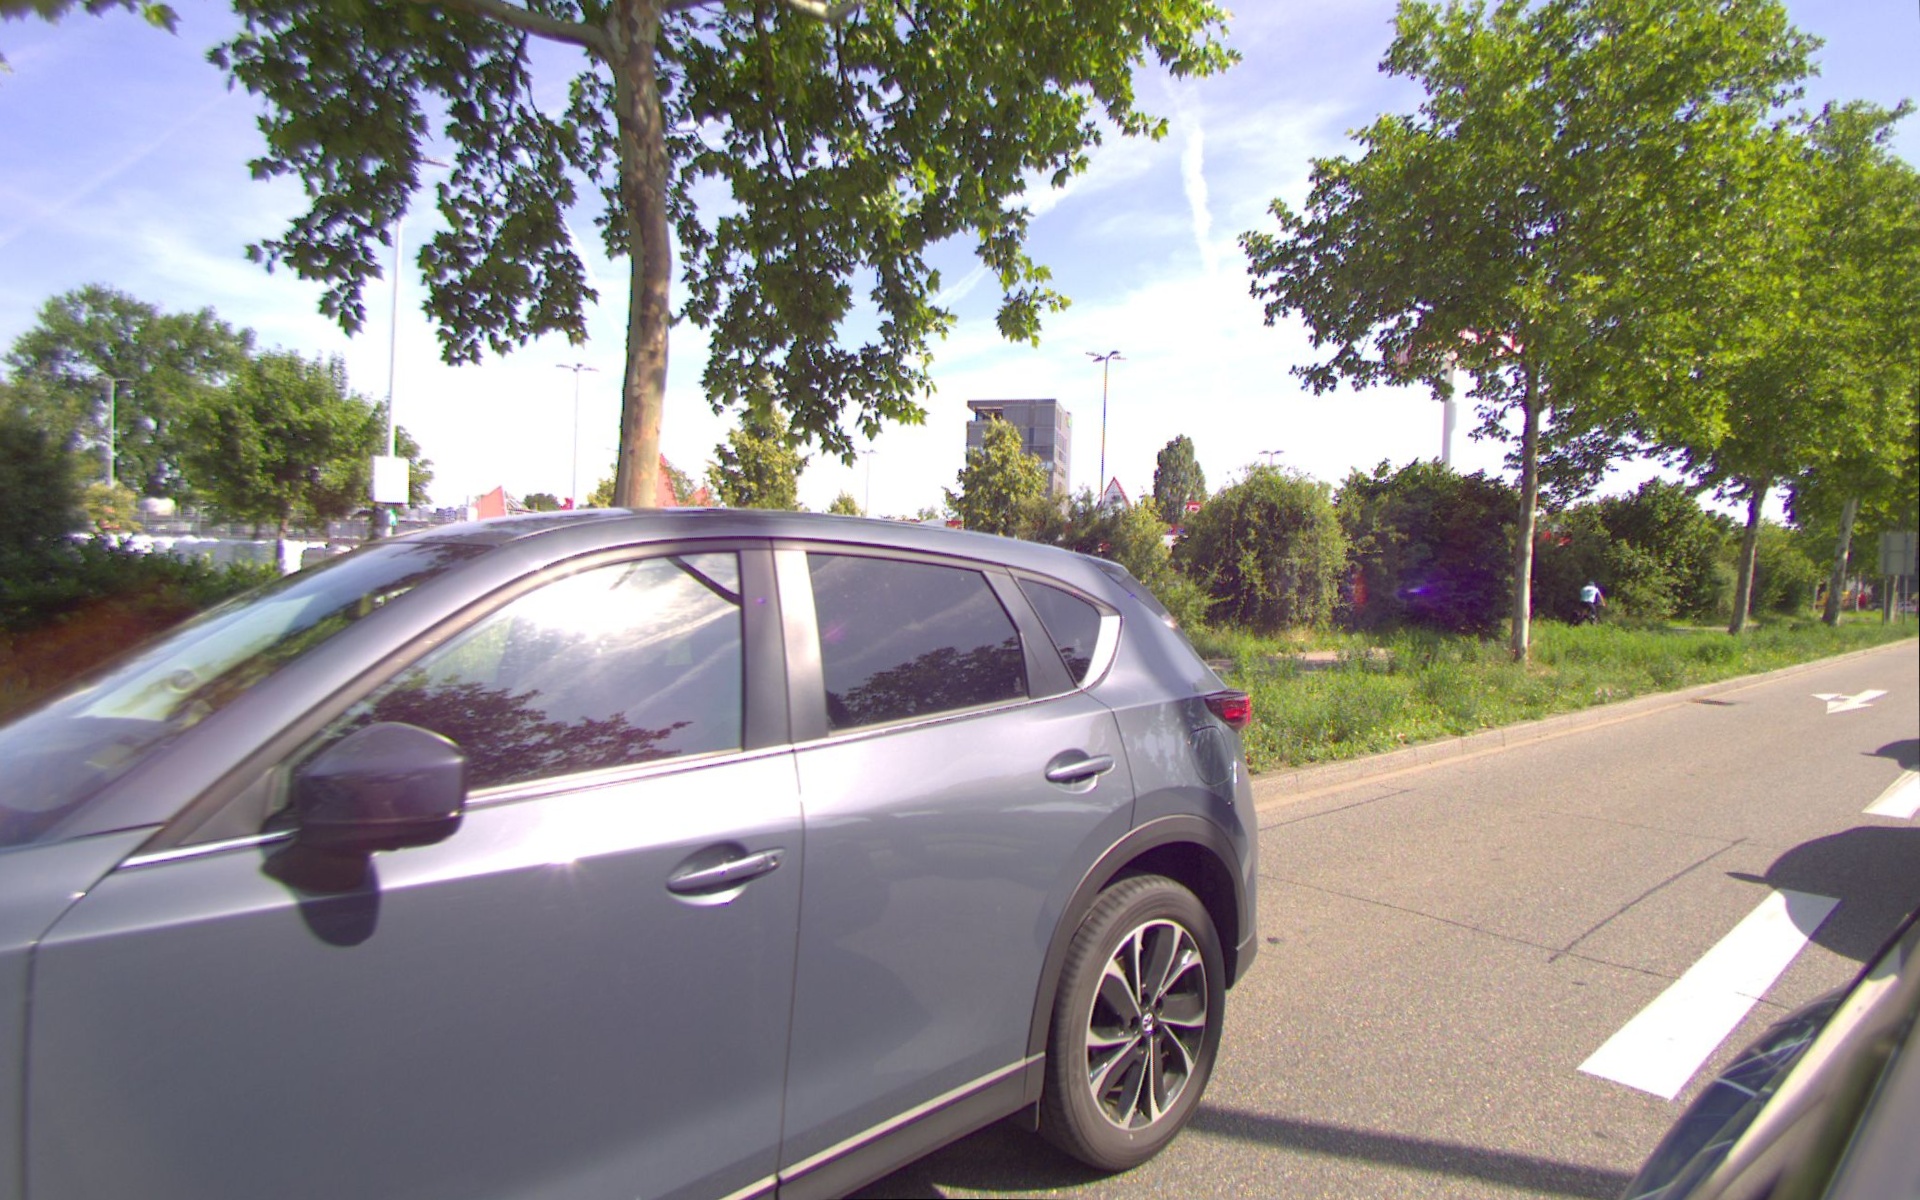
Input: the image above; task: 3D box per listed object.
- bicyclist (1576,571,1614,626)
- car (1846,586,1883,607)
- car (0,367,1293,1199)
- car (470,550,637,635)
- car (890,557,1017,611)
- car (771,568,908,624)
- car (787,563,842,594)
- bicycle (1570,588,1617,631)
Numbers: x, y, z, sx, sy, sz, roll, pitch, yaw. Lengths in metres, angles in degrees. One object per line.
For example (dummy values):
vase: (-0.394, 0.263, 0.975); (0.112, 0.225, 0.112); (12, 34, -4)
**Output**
bicyclist: (19.667, -0.060, 31.340); (0.984, 1.651, 0.686); (0, 2, -41)
car: (114.590, -0.464, 128.244); (2.047, 2.439, 5.947); (2, 2, 28)
car: (-1.241, 0.568, 2.189); (4.418, 1.680, 1.768); (0, 0, -42)
car: (-8.634, -0.216, 21.364); (3.850, 1.604, 1.821); (3, 2, 43)
car: (-0.188, -0.527, 32.598); (3.801, 1.604, 1.844); (2, 2, 11)
car: (-3.229, -0.148, 26.827); (3.553, 1.316, 1.740); (3, 2, 43)
car: (-7.995, -1.199, 55.960); (1.665, 1.593, 3.985); (2, 2, 13)
bicycle: (19.621, 0.276, 31.319); (1.900, 1.252, 0.686); (0, 2, -41)
